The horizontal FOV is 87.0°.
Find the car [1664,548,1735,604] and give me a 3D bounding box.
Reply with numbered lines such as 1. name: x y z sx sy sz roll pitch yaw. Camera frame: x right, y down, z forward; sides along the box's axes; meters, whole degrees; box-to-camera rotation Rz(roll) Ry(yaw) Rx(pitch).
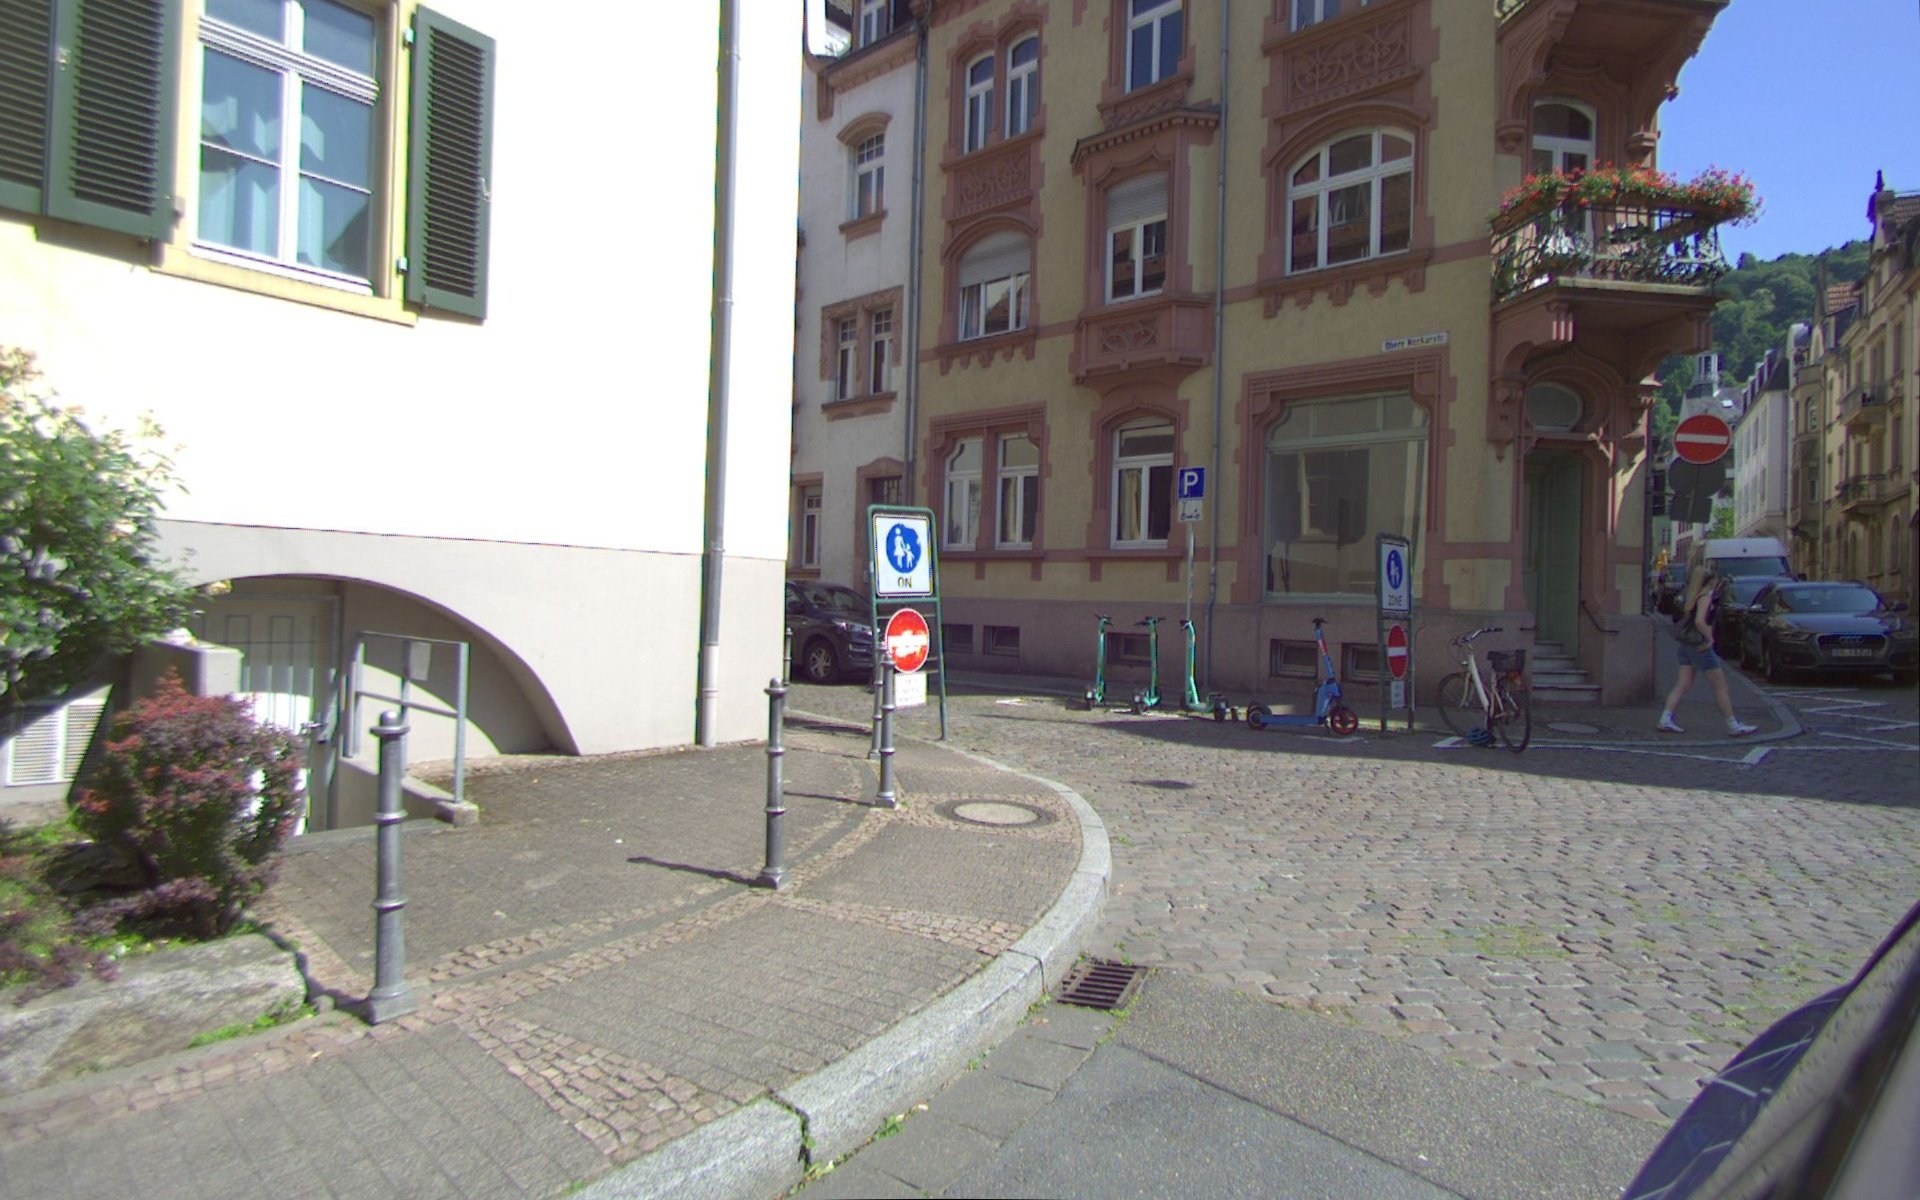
1. car: 30.329 -0.936 41.613 1.984 2.173 3.955 1 0 31

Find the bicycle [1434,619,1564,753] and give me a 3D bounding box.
1. bicycle: 5.383 0.807 10.219 0.497 1.160 1.790 1 1 6

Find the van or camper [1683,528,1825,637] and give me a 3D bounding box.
1. van or camper: 21.074 -0.544 27.183 2.210 2.551 6.693 1 3 32

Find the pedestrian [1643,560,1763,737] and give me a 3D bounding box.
1. pedestrian: 7.924 0.481 10.800 0.977 1.780 0.614 0 2 42

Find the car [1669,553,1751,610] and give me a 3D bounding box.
1. car: 27.082 -0.648 36.659 1.984 1.940 3.955 1 0 31

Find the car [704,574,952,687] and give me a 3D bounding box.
1. car: -2.266 0.418 16.885 3.982 1.663 1.971 1 0 41

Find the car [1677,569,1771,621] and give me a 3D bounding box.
1. car: 24.541 -0.154 32.647 1.984 1.545 3.955 1 0 31

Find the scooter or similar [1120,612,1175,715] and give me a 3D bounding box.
1. scooter or similar: 2.381 0.768 12.787 0.408 1.224 1.225 1 0 23

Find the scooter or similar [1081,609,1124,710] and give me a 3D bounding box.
1. scooter or similar: 1.859 0.743 13.131 0.338 1.224 1.184 1 0 17

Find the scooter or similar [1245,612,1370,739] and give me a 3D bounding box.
1. scooter or similar: 3.676 0.769 10.711 1.180 1.251 0.438 1 0 29

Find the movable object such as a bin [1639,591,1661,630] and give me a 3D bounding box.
1. movable object such as a bin: 17.309 0.252 25.401 0.437 0.970 0.346 1 -1 34

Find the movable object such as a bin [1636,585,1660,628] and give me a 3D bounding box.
1. movable object such as a bin: 17.915 0.162 26.361 0.514 1.103 0.416 1 -1 33

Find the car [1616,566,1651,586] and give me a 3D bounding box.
1. car: 59.353 -2.092 89.243 1.980 1.683 3.964 1 0 26

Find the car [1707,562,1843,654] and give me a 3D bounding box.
1. car: 16.905 0.124 21.165 1.749 1.727 3.954 -2 0 33

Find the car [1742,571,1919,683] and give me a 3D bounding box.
1. car: 14.266 0.346 16.539 1.847 1.603 4.213 -1 1 31

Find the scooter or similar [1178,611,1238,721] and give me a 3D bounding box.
1. scooter or similar: 2.948 0.762 12.098 0.335 1.224 1.191 1 0 -4
